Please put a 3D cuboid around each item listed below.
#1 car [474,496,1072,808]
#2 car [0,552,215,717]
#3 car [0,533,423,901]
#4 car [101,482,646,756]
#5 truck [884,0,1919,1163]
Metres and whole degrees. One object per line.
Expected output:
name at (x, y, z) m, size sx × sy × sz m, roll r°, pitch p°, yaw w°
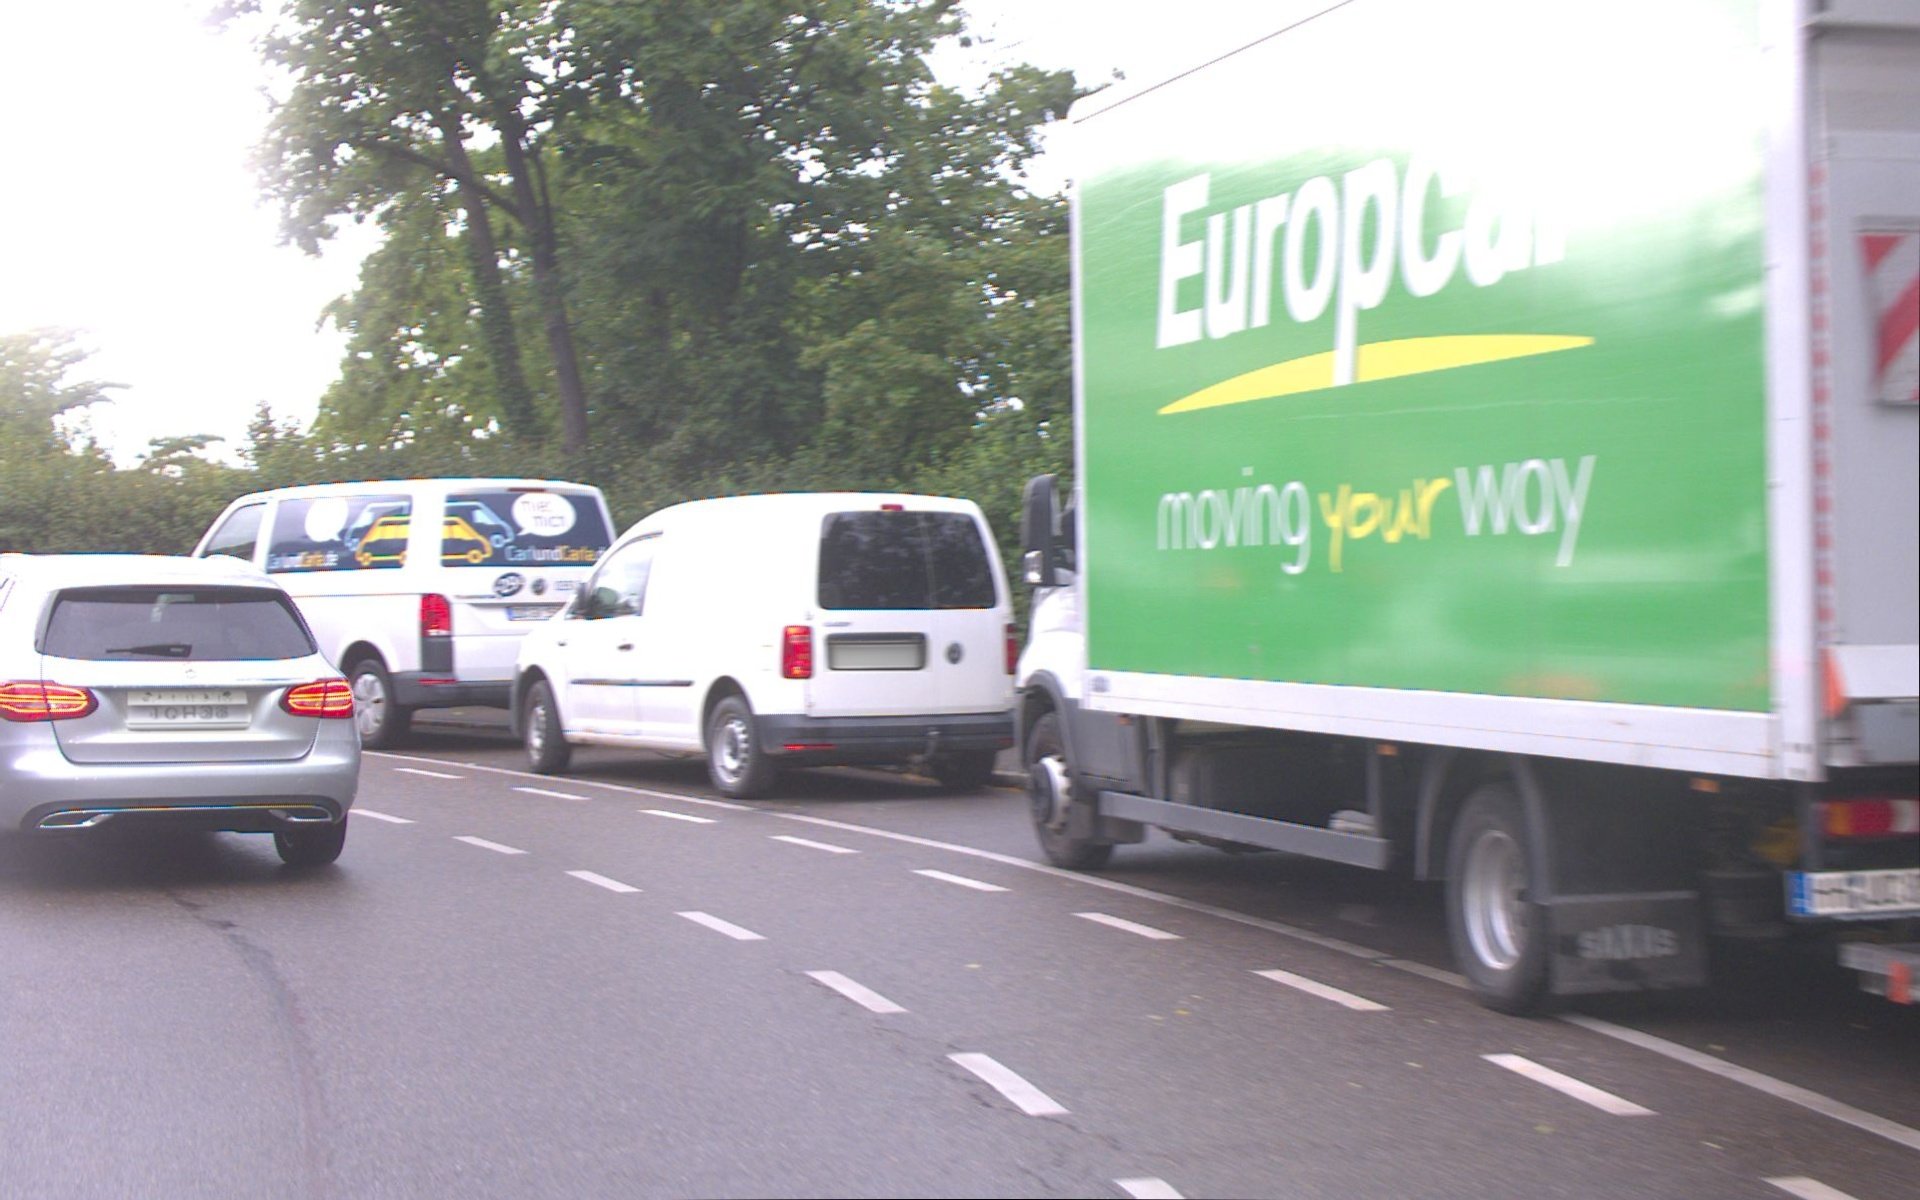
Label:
car at (-1.304, 0.258, 21.803) m, size 1.860 × 1.764 × 4.379 m, roll 0°, pitch 1°, yaw -33°
car at (-8.658, 0.278, 31.422) m, size 3.739 × 1.409 × 1.672 m, roll 1°, pitch 0°, yaw 41°
car at (-4.161, 0.460, 16.747) m, size 1.982 × 1.548 × 4.299 m, roll 0°, pitch 1°, yaw -24°
car at (-4.659, 0.093, 26.779) m, size 1.861 × 1.941 × 4.805 m, roll 0°, pitch 1°, yaw -43°
truck at (2.218, -0.476, 12.940) m, size 2.773 × 3.458 × 8.936 m, roll -1°, pitch 1°, yaw -16°
